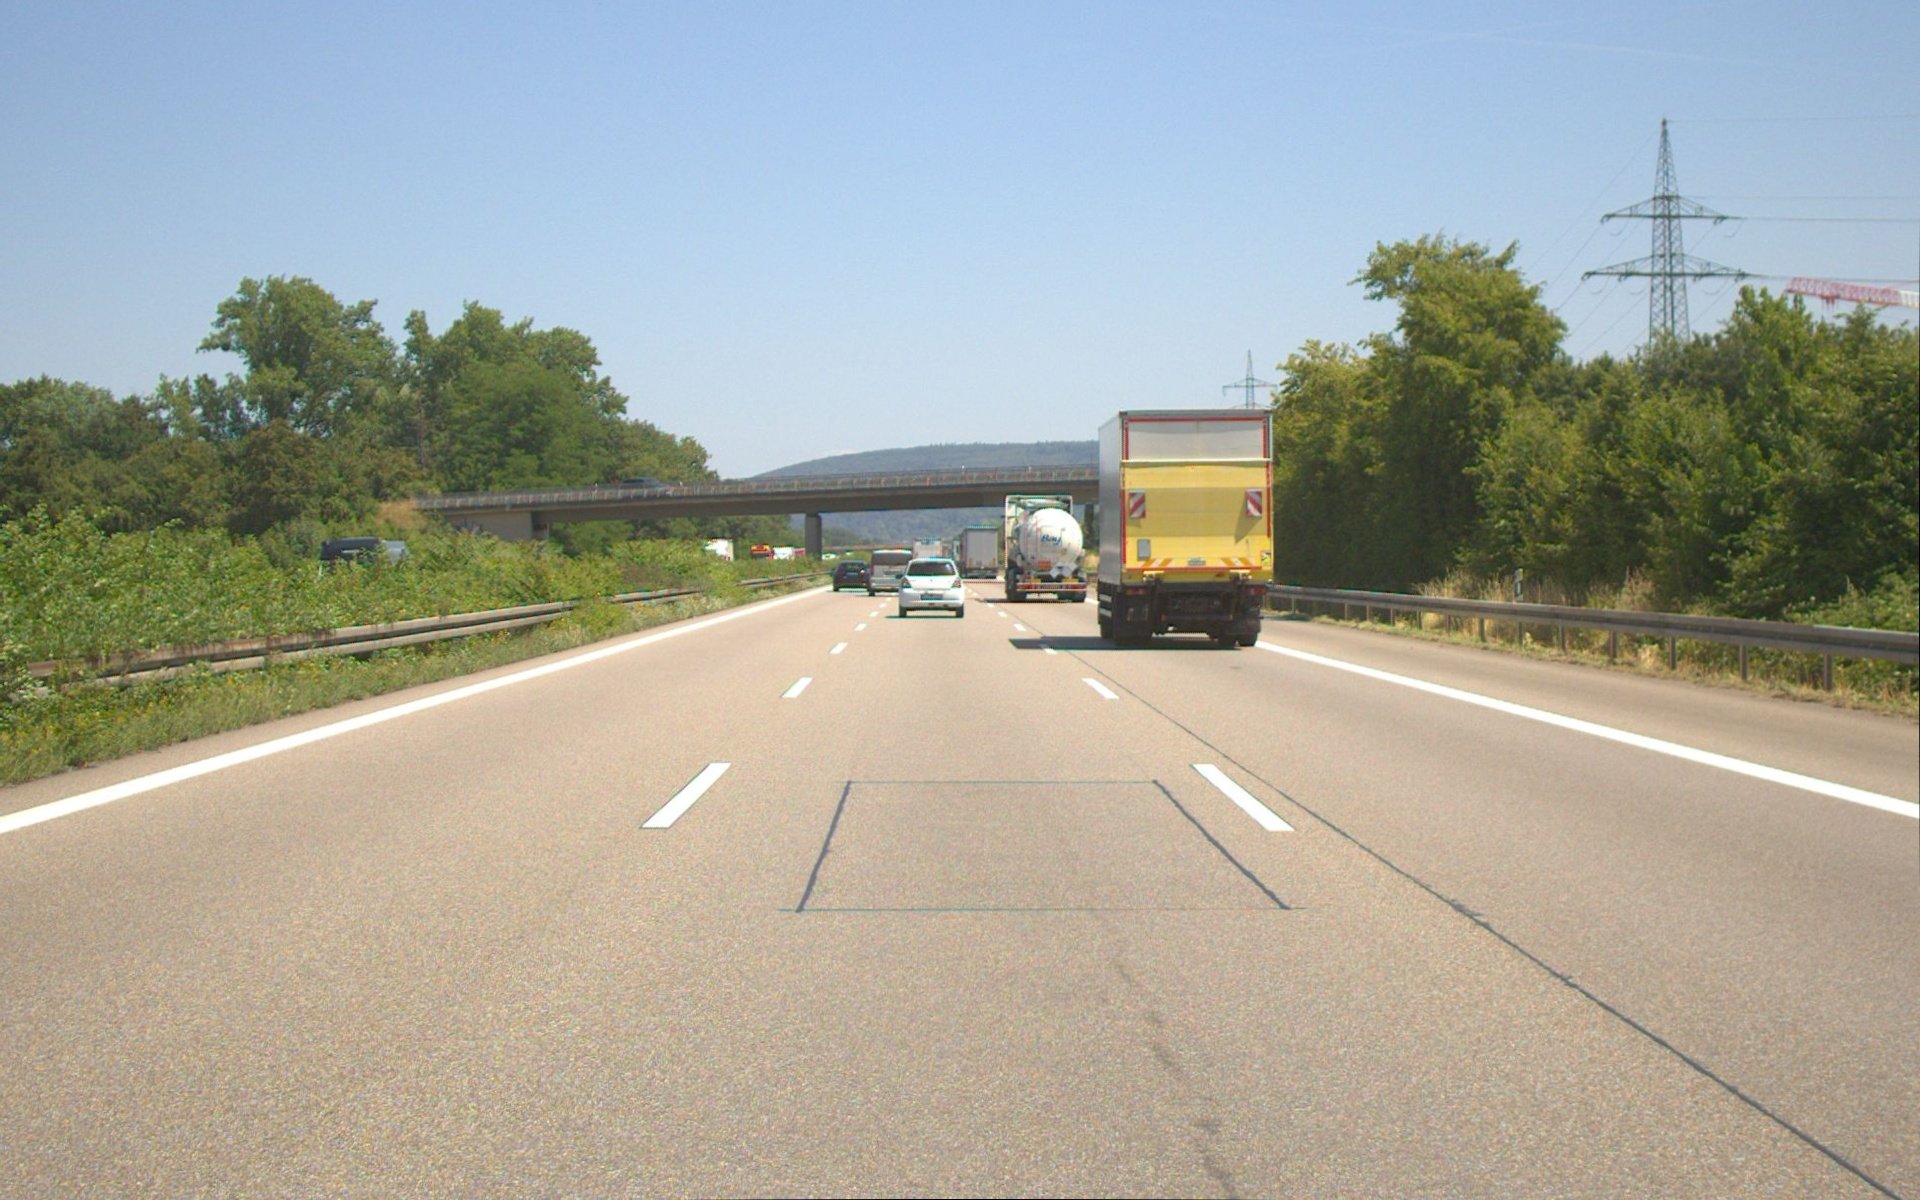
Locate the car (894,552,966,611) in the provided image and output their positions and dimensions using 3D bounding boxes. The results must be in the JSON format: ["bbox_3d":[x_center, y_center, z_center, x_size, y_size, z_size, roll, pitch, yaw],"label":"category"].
[{"bbox_3d":[-0.760,-0.502,89.313,1.806,1.463,4.000,1,1,0],"label":"car"}]

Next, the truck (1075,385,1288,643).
[{"bbox_3d":[3.819,-1.481,61.773,2.933,4.185,10.682,1,1,-1],"label":"truck"}]

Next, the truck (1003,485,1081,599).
[{"bbox_3d":[3.002,-2.143,127.500,2.573,4.058,6.393,1,1,-1],"label":"truck"}]

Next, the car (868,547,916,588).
[{"bbox_3d":[-2.760,-1.338,139.828,1.852,1.627,4.000,1,1,0],"label":"car"}]

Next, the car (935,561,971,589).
[{"bbox_3d":[-0.381,-1.314,179.025,1.835,1.382,4.000,1,1,0],"label":"car"}]

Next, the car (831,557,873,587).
[{"bbox_3d":[-5.002,-1.309,159.351,1.835,1.382,4.000,1,1,0],"label":"car"}]

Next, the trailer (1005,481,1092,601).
[{"bbox_3d":[3.080,-2.079,122.859,2.580,4.060,11.104,1,1,-1],"label":"trailer"}]
